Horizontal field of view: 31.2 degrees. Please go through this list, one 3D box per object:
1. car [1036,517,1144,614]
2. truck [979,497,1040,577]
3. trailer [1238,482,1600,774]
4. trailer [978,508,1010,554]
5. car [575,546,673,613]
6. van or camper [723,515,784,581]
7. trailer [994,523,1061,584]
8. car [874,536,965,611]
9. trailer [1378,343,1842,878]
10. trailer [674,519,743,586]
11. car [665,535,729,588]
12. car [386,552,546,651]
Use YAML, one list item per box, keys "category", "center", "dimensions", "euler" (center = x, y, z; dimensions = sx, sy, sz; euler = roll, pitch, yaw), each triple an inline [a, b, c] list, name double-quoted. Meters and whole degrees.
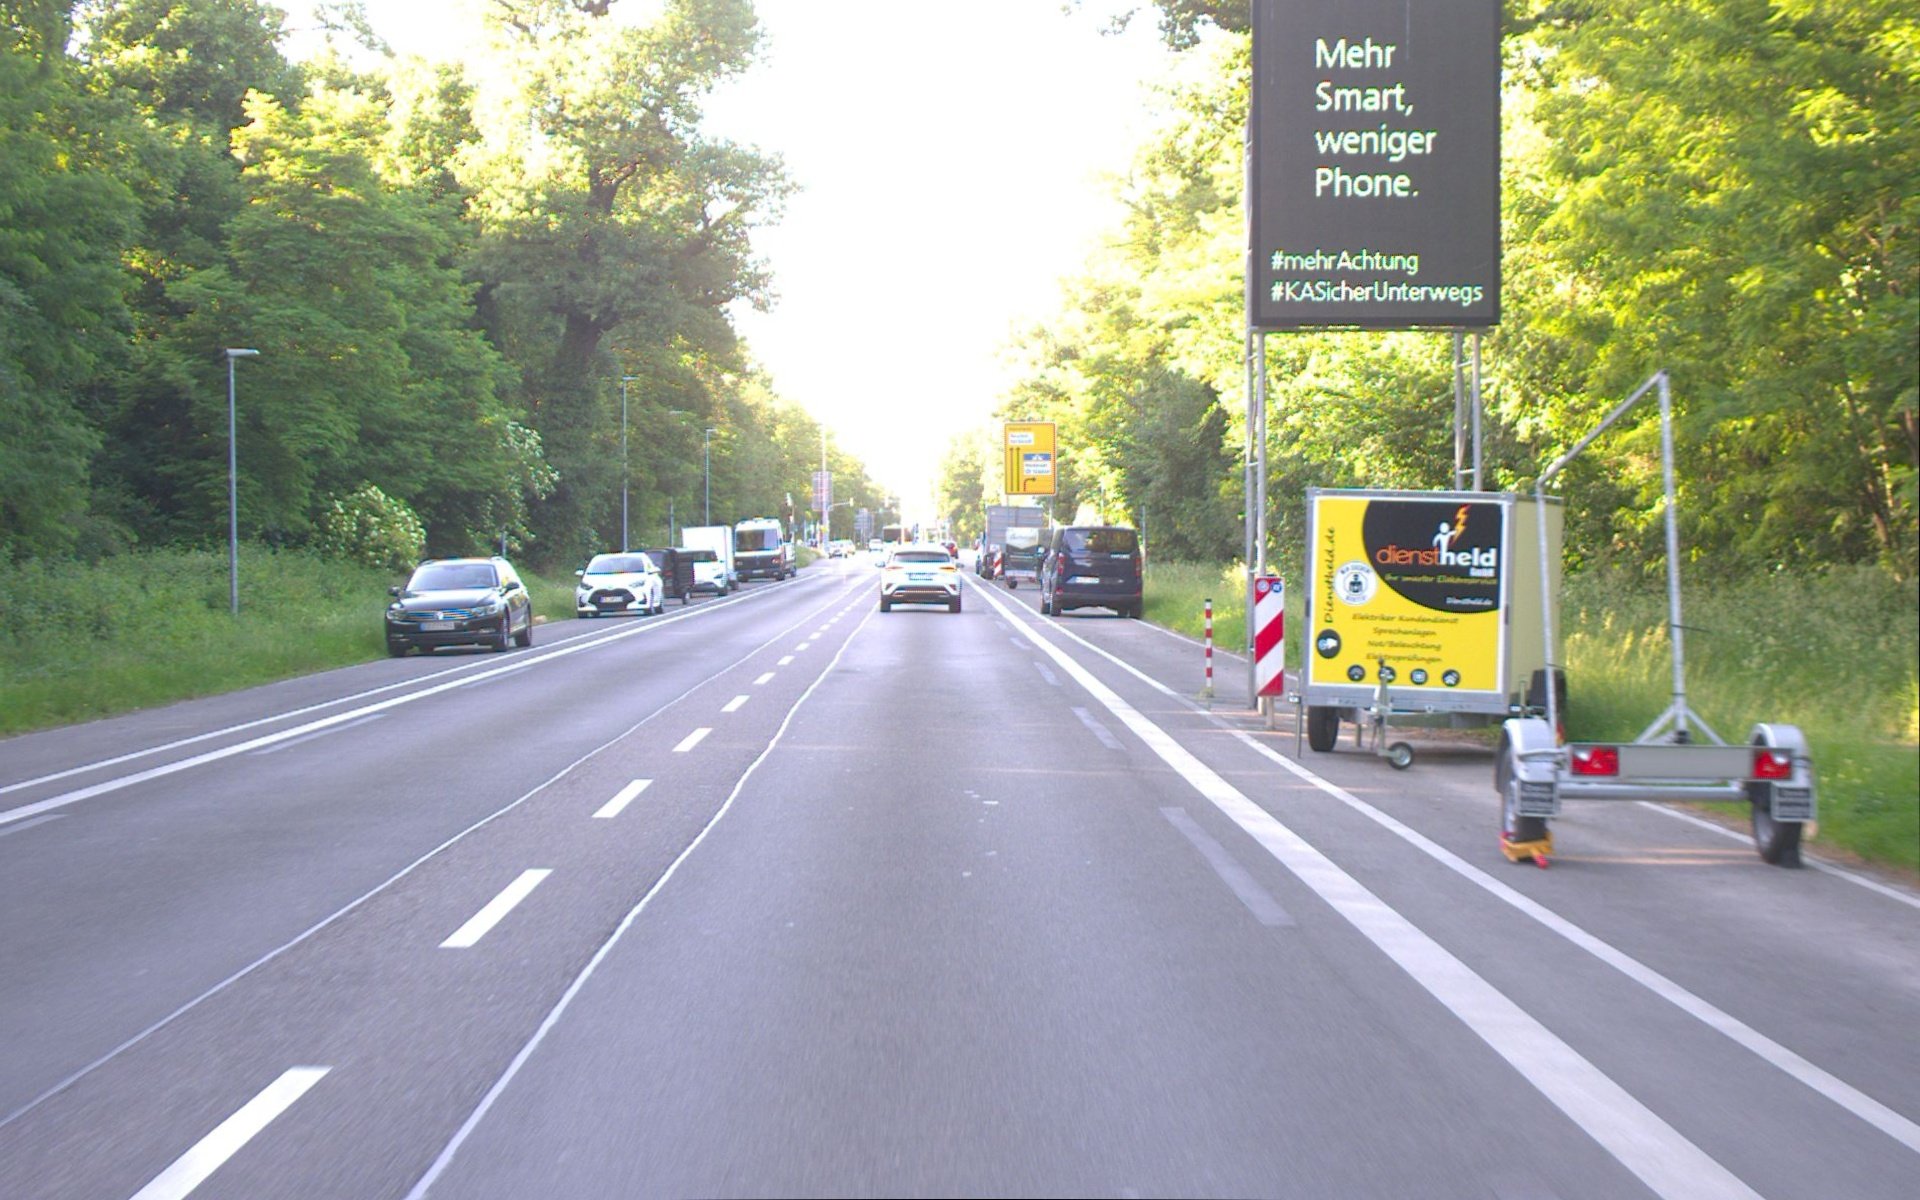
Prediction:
- category: "car"
  center: [2.839, -0.779, 75.929]
  dimensions: [2.113, 2.007, 5.040]
  euler: [2, 1, 0]
- category: "truck"
  center: [2.115, -2.717, 149.993]
  dimensions: [2.505, 3.355, 7.107]
  euler: [1, 1, 0]
- category: "trailer"
  center: [3.532, 0.147, 25.893]
  dimensions: [1.964, 2.016, 3.840]
  euler: [0, 1, 19]
- category: "trailer"
  center: [1.713, -3.472, 173.584]
  dimensions: [1.500, 2.228, 4.550]
  euler: [1, 1, 0]
- category: "car"
  center: [-7.880, -0.495, 80.938]
  dimensions: [1.867, 1.445, 4.071]
  euler: [-3, 1, 0]
- category: "van or camper"
  center: [-9.182, -2.331, 153.152]
  dimensions: [2.302, 2.758, 5.557]
  euler: [-3, 1, 0]
- category: "trailer"
  center: [2.356, -1.635, 119.915]
  dimensions: [1.616, 2.105, 2.394]
  euler: [1, 1, 20]
- category: "car"
  center: [-0.917, -0.619, 78.024]
  dimensions: [1.993, 1.634, 4.000]
  euler: [-1, 1, -1]
- category: "trailer"
  center: [3.306, 0.025, 18.206]
  dimensions: [1.613, 2.500, 4.000]
  euler: [1, 1, -1]
- category: "trailer"
  center: [-8.901, -1.697, 122.011]
  dimensions: [2.075, 2.285, 3.486]
  euler: [-1, 1, 1]
- category: "car"
  center: [-8.293, -1.236, 108.787]
  dimensions: [1.814, 1.566, 4.207]
  euler: [-2, 1, -2]
- category: "car"
  center: [-7.716, -0.005, 54.064]
  dimensions: [1.855, 1.459, 4.784]
  euler: [0, 1, -1]
